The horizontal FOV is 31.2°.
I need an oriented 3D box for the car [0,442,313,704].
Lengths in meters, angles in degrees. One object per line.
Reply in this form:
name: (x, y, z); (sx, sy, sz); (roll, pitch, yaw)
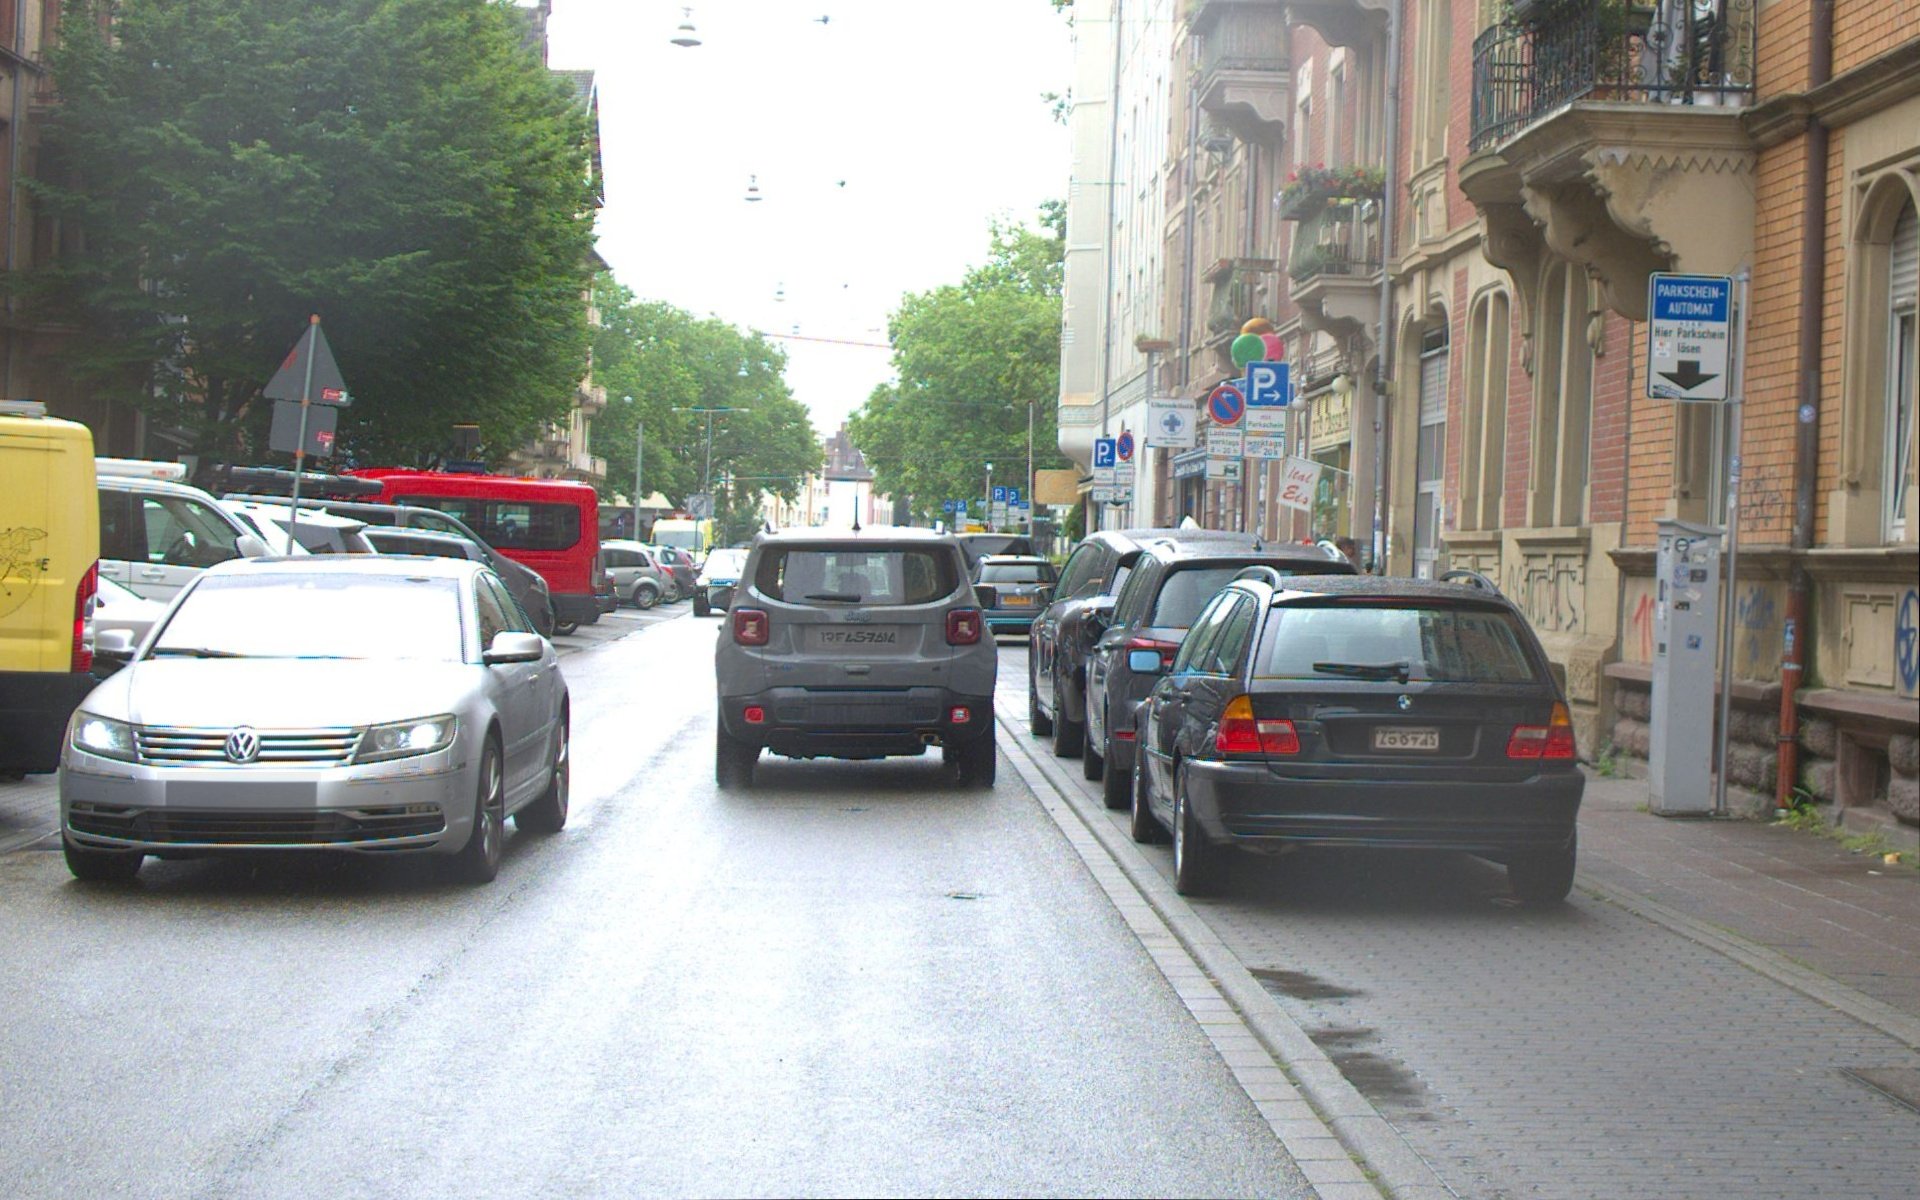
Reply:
car: (-8.220, -0.261, 28.521); (5.235, 2.071, 1.870); (2, 0, -26)

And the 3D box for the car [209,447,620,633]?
car: (-8.122, -0.881, 51.310); (5.554, 2.532, 2.229); (2, 1, -29)

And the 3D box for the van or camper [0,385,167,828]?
van or camper: (-6.796, -0.104, 17.638); (4.711, 2.260, 2.185); (3, 1, -34)

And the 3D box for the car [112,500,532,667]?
car: (-7.530, -0.189, 40.626); (4.430, 1.625, 1.845); (4, 1, -27)

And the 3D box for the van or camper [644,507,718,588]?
van or camper: (-9.606, -1.776, 118.715); (2.121, 2.522, 6.875); (-2, -1, -2)

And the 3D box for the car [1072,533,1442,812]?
car: (1.746, 0.371, 21.549); (1.871, 1.556, 4.345); (0, 1, -1)

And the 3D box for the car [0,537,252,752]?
car: (-7.095, 0.265, 23.587); (3.986, 1.431, 1.785); (2, 1, -30)

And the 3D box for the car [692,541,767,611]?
car: (-5.419, -0.583, 80.816); (1.669, 1.554, 4.004); (1, 1, -4)

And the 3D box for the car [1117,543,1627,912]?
car: (1.789, 0.486, 16.322); (1.787, 1.461, 4.484); (2, 1, -1)

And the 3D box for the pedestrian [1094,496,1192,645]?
pedestrian: (2.567, -0.418, 48.212); (0.680, 1.928, 0.808); (1, -24, 34)

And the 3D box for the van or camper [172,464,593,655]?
van or camper: (-7.725, -0.539, 46.043); (5.008, 2.341, 2.345); (2, 1, -27)

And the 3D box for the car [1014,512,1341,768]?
car: (1.576, 0.254, 26.675); (1.993, 1.773, 4.827); (1, 1, -3)

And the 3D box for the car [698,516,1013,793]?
car: (-0.742, 0.306, 23.338); (1.898, 1.665, 4.506); (1, 1, -3)

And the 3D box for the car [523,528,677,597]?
car: (-8.873, -0.926, 84.777); (3.376, 1.648, 1.634); (0, 1, -34)

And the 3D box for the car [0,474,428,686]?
car: (-7.827, -0.237, 34.390); (4.578, 1.779, 2.546); (4, 1, -2)

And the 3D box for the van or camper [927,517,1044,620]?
van or camper: (0.450, -0.626, 66.199); (2.021, 1.884, 5.055); (0, 1, -2)

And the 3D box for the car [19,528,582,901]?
car: (-3.003, 0.428, 16.618); (1.795, 1.488, 4.583); (1, 2, 0)

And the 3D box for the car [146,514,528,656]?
car: (-7.799, -0.186, 43.073); (4.341, 1.499, 1.755); (3, 1, -24)

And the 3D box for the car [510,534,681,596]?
car: (-8.687, -0.829, 82.065); (3.703, 1.447, 1.685); (0, 1, -36)

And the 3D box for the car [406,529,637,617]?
car: (-8.300, -0.509, 65.268); (3.967, 1.442, 1.767); (3, 1, -41)

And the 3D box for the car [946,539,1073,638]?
car: (0.780, -0.208, 56.769); (1.841, 1.540, 4.004); (1, 1, -3)
